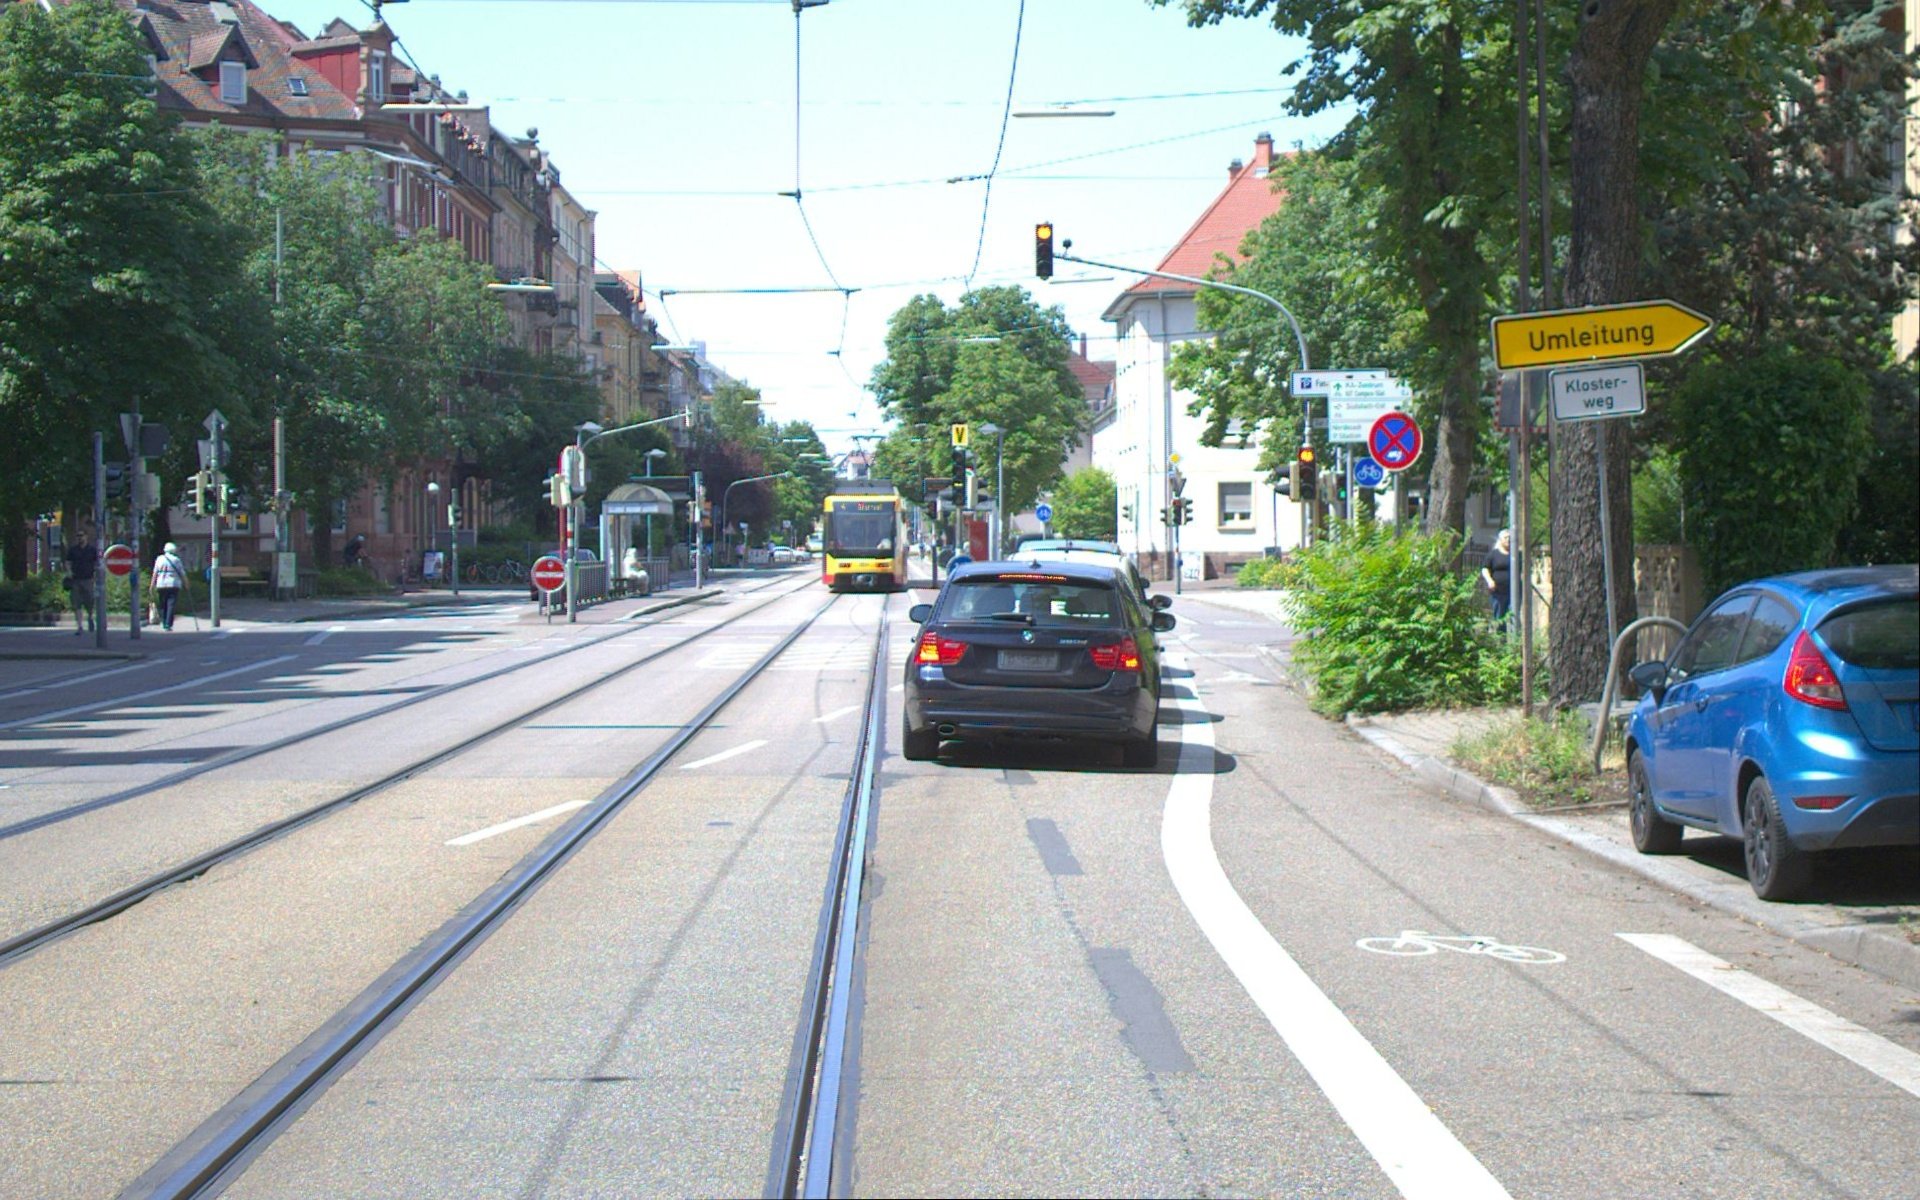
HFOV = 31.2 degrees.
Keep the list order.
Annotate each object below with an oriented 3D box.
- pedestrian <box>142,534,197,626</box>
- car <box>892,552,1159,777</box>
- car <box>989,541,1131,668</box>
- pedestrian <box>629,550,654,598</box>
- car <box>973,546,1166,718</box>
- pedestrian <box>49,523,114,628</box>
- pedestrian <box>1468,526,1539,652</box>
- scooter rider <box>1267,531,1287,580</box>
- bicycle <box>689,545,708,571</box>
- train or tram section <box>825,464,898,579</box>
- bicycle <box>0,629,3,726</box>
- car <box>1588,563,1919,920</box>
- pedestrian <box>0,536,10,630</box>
[{"bbox_3d":[-14.816,-0.379,64.440,0.916,1.717,0.840,0,1,-7],"label":"pedestrian"},{"bbox_3d":[0.532,0.397,25.038,1.723,1.404,4.564,2,1,2],"label":"car"},{"bbox_3d":[1.311,0.023,43.877,1.691,1.508,3.821,2,1,3],"label":"car"},{"bbox_3d":[-8.255,-0.671,89.031,0.613,1.238,0.628,0,1,-6],"label":"pedestrian"},{"bbox_3d":[0.998,0.251,31.939,1.685,1.479,3.684,0,1,1],"label":"car"},{"bbox_3d":[-16.003,-0.455,62.638,0.900,1.884,1.165,0,1,-1],"label":"pedestrian"},{"bbox_3d":[7.140,-0.147,45.175,0.857,1.640,0.836,0,1,6],"label":"pedestrian"},{"bbox_3d":[10.829,-1.527,117.456,0.590,1.681,0.528,0,1,-6],"label":"scooter rider"},{"bbox_3d":[-11.302,-1.809,148.573,0.729,1.098,1.715,0,1,-1],"label":"bicycle"},{"bbox_3d":[-3.091,-2.458,108.685,2.190,3.470,8.846,0,1,-1],"label":"train or tram section"},{"bbox_3d":[-8.730,0.649,29.758,0.752,0.815,1.821,-1,1,-19],"label":"bicycle"},{"bbox_3d":[4.281,0.583,16.561,1.677,1.438,3.721,-2,1,-2],"label":"car"},{"bbox_3d":[-17.092,-0.301,59.795,0.860,1.630,1.026,0,1,-2],"label":"pedestrian"}]
